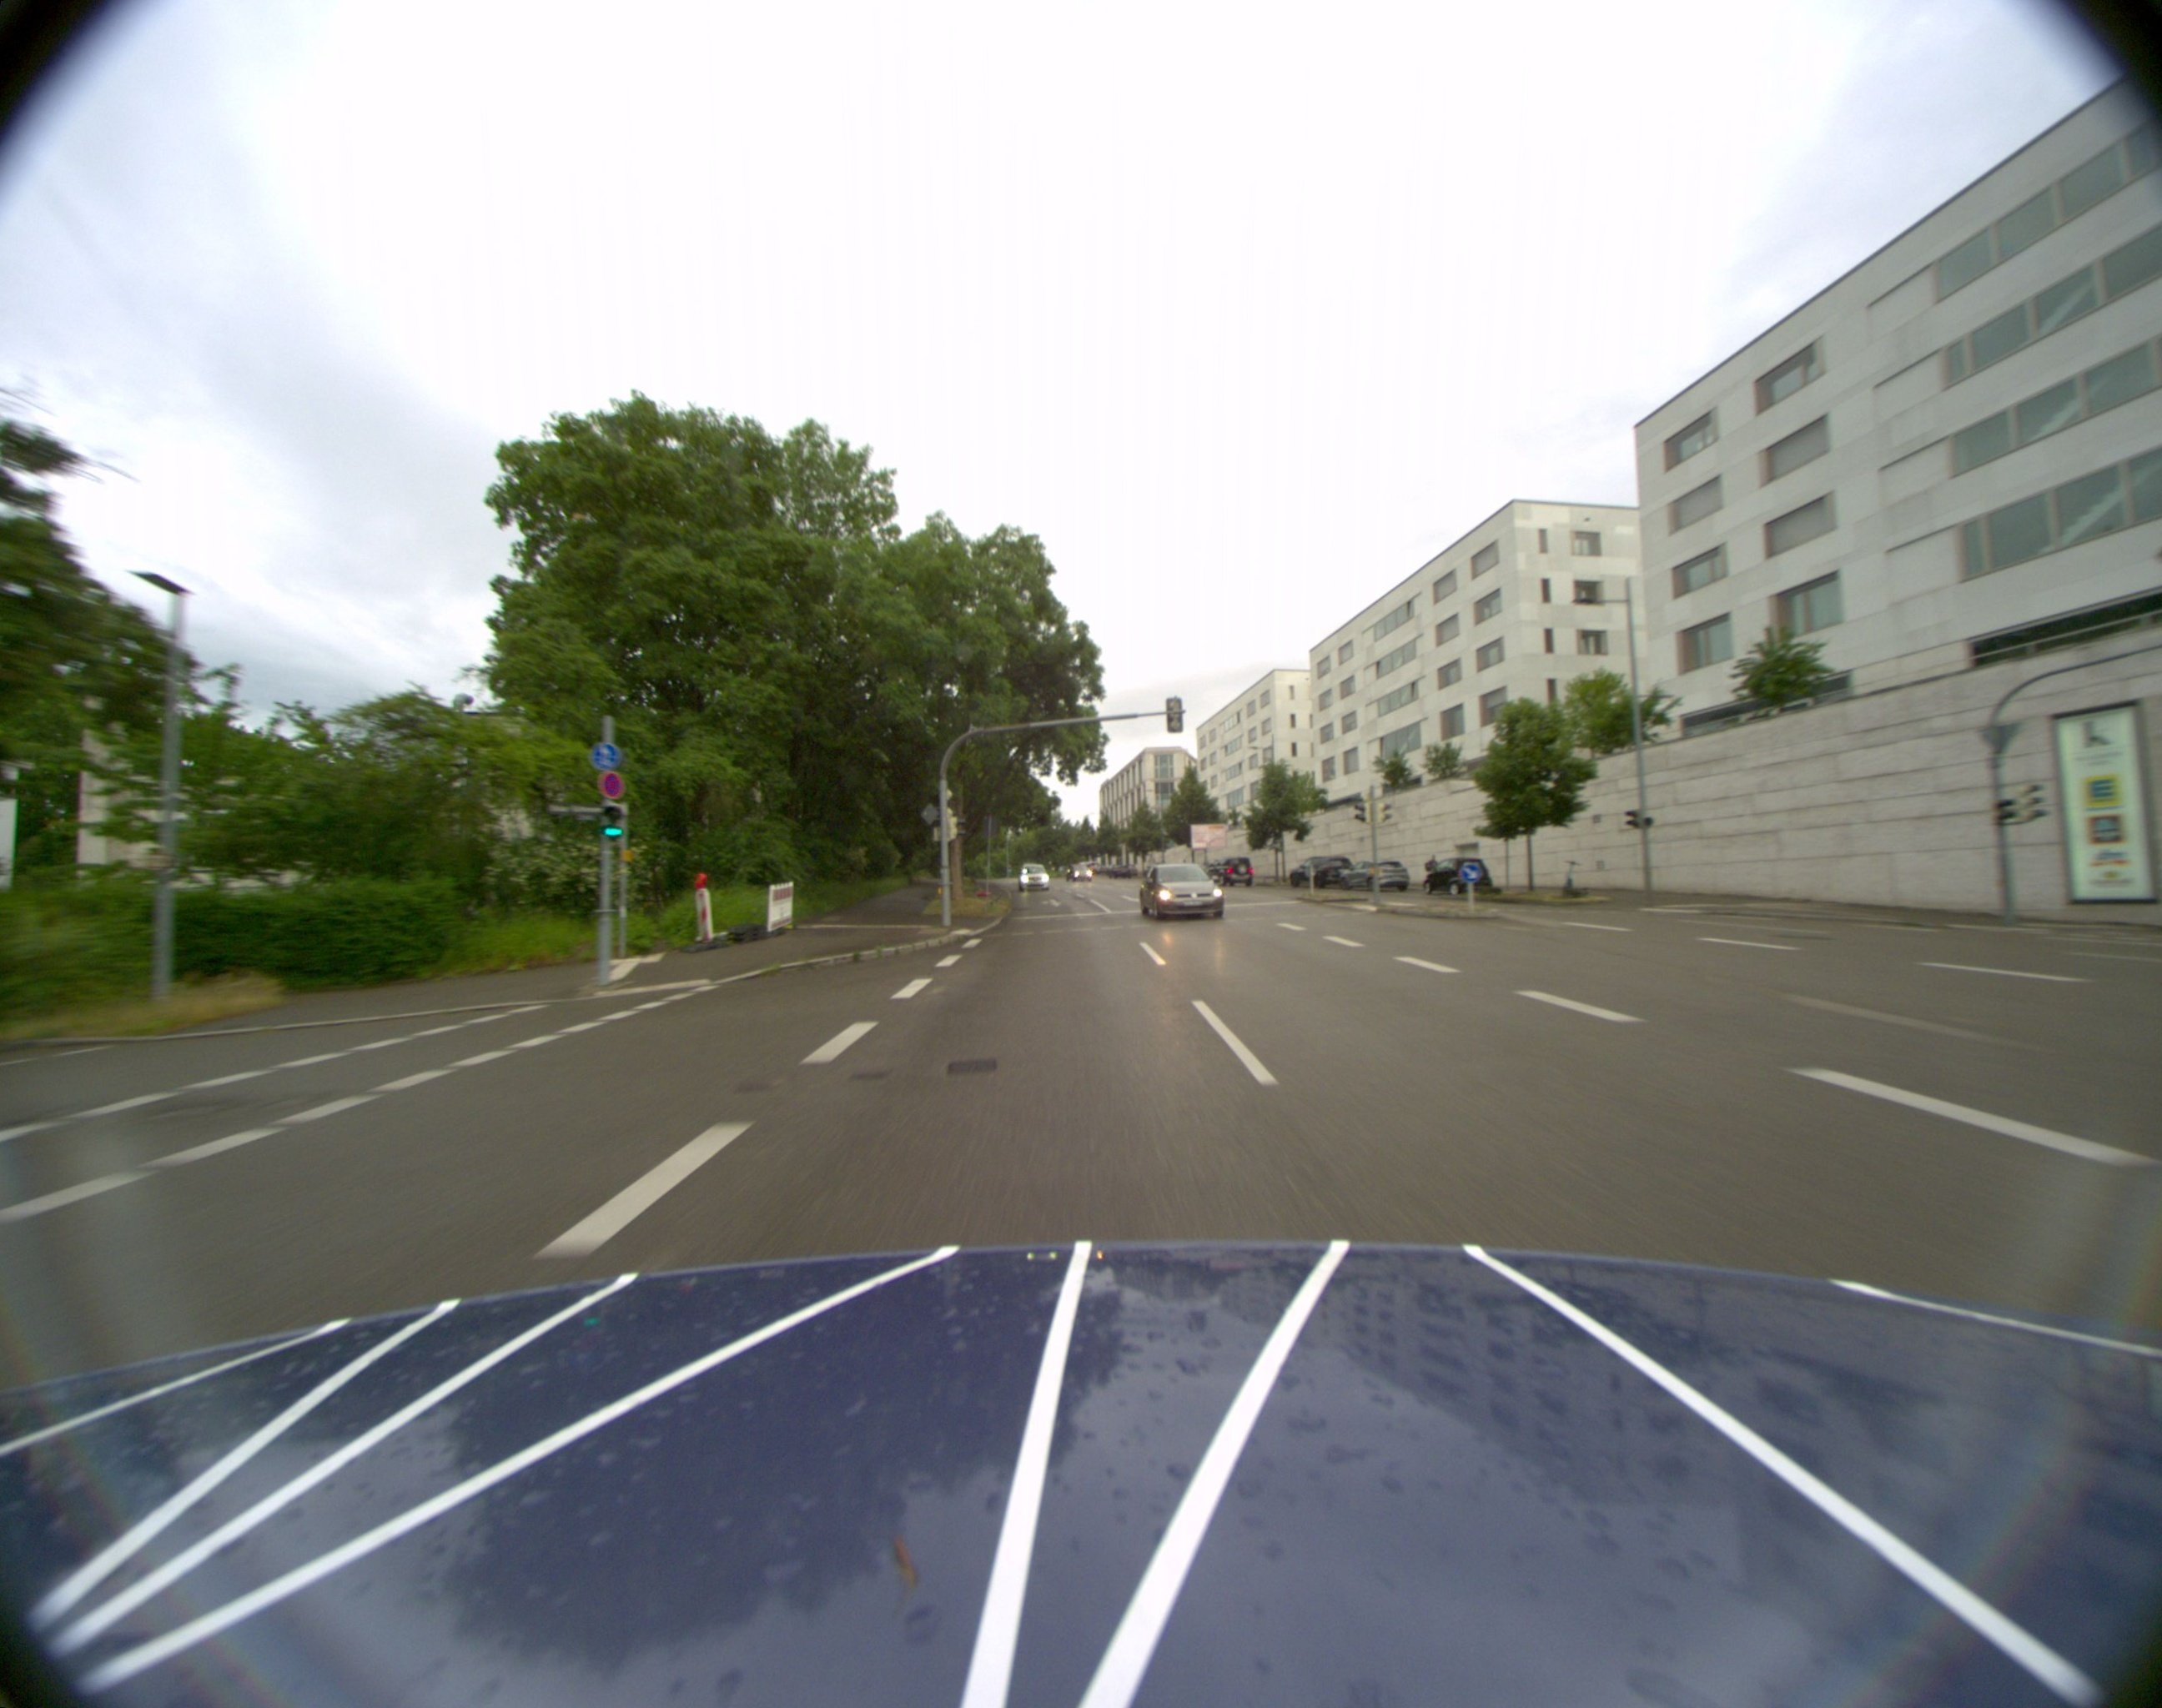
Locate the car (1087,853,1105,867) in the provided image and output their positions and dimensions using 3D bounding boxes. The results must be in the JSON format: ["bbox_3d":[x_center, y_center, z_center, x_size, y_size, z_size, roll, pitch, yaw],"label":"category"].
[{"bbox_3d":[2.250,0.932,115.647,1.925,2.001,4.385,-3,-2,-8],"label":"car"}]

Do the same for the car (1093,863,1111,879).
[{"bbox_3d":[3.018,2.464,109.616,1.925,2.001,4.385,-3,-2,-8],"label":"car"}]

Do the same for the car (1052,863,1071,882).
[{"bbox_3d":[-2.180,2.095,86.825,1.998,2.002,4.000,-2,0,1],"label":"car"}]

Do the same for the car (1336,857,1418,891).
[{"bbox_3d":[14.412,0.961,37.294,1.864,1.469,3.997,-2,-1,-11],"label":"car"}]

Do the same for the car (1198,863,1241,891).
[{"bbox_3d":[10.783,1.843,59.304,1.925,2.001,4.385,-3,-2,-8],"label":"car"}]

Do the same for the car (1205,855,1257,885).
[{"bbox_3d":[9.730,1.026,49.671,1.966,1.828,4.446,-2,0,-7],"label":"car"}]

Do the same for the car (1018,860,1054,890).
[{"bbox_3d":[-2.800,1.309,46.272,1.928,1.651,3.999,-2,-2,-6],"label":"car"}]

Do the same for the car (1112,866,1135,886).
[{"bbox_3d":[4.536,2.345,82.218,1.999,2.002,3.999,-2,0,-3],"label":"car"}]

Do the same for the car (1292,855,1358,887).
[{"bbox_3d":[13.489,0.932,42.249,1.790,1.622,3.996,-2,0,-11],"label":"car"}]

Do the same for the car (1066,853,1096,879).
[{"bbox_3d":[-0.029,1.095,64.965,1.925,2.001,4.385,-3,-2,-8],"label":"car"}]

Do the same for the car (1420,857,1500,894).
[{"bbox_3d":[15.836,0.874,31.869,1.682,1.450,2.694,-2,0,-11],"label":"car"}]

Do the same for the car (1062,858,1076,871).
[{"bbox_3d":[-1.925,1.760,123.634,1.999,2.002,3.999,-2,0,-3],"label":"car"}]

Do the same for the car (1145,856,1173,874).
[{"bbox_3d":[7.980,1.139,77.849,1.999,1.739,3.999,-3,0,-5],"label":"car"}]

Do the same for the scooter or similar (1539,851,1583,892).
[{"bbox_3d":[17.702,0.649,28.040,1.277,1.459,0.429,-3,0,23],"label":"scooter or similar"}]

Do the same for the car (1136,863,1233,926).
[{"bbox_3d":[2.689,1.012,20.722,1.876,1.432,4.296,-3,0,-2],"label":"car"}]

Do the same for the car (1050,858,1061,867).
[{"bbox_3d":[-5.744,1.938,171.370,1.999,1.739,3.999,-3,0,-5],"label":"car"}]

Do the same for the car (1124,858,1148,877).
[{"bbox_3d":[6.584,1.653,90.883,1.925,2.001,4.385,-3,-2,-8],"label":"car"}]

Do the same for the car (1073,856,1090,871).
[{"bbox_3d":[0.020,1.291,103.128,1.999,2.001,3.999,-2,-1,-3],"label":"car"}]

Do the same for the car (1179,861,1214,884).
[{"bbox_3d":[10.594,1.729,70.193,1.925,2.001,4.385,-3,-2,-8],"label":"car"}]
